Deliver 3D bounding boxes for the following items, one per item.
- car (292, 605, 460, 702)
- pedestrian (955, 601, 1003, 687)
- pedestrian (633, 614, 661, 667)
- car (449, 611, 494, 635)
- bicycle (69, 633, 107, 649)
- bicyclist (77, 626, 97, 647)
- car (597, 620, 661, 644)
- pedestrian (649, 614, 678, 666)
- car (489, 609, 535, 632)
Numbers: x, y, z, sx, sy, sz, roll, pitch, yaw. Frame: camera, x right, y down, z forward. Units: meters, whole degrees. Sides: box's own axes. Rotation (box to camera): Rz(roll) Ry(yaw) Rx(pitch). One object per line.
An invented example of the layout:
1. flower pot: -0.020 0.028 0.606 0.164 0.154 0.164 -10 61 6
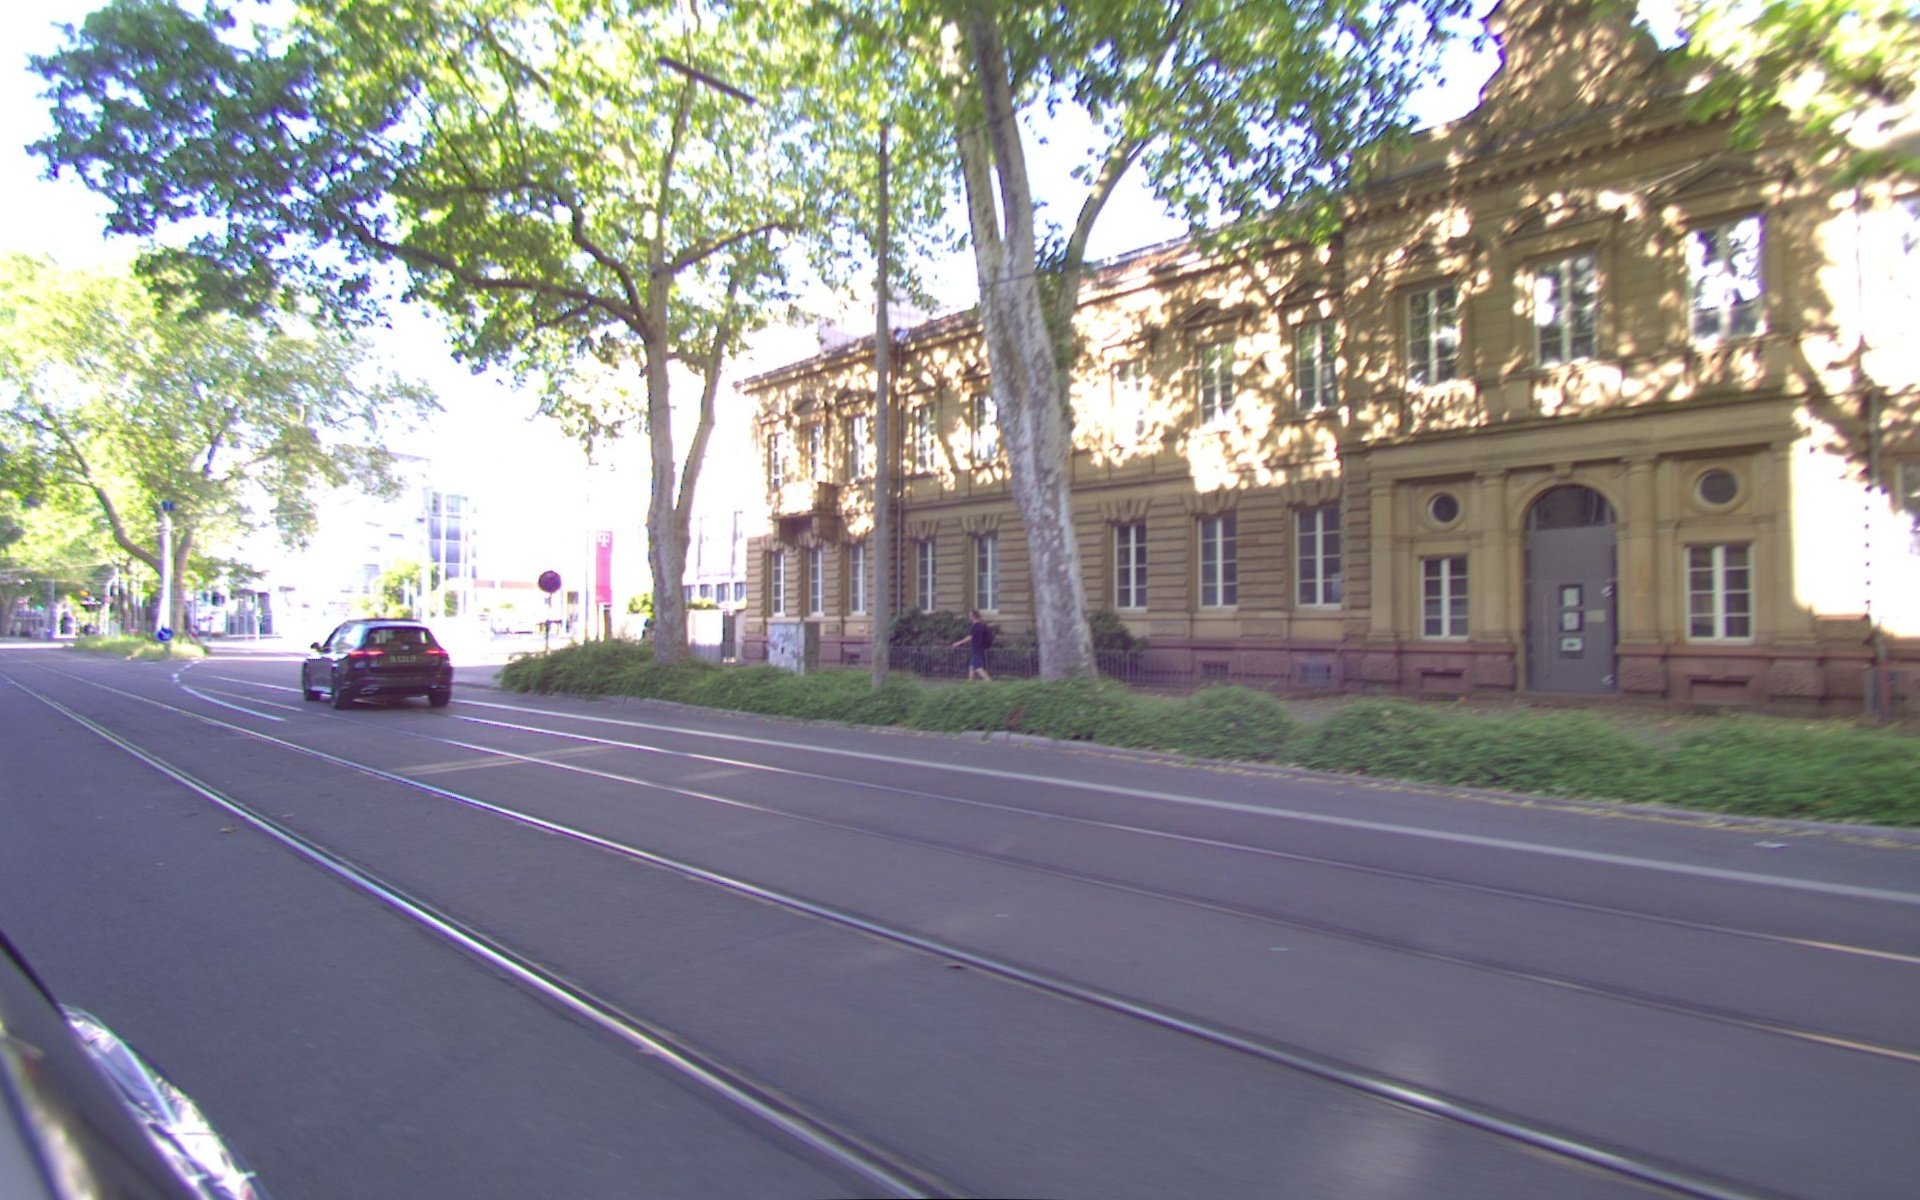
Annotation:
1. car: -11.392 1.014 19.602 1.844 1.642 4.565 2 -3 -42
2. pedestrian: 0.422 0.965 22.559 0.836 1.863 0.713 -1 -2 35
3. pedestrian: -10.284 1.313 33.224 0.656 1.710 0.627 -1 -2 40
4. car: -37.972 1.819 78.635 4.000 1.831 1.827 -1 -2 43
5. bicycle: -65.803 3.072 76.419 0.759 1.137 2.057 -1 -2 38
6. bicyclist: -65.867 2.720 76.363 0.759 1.588 0.995 -1 -2 38
7. car: -25.045 2.410 76.681 1.853 1.732 4.221 -1 -2 42
8. pedestrian: -9.912 1.323 33.798 0.660 1.710 0.665 -1 -2 35
9. car: -35.521 1.644 80.211 4.000 1.765 1.827 -1 -2 43
